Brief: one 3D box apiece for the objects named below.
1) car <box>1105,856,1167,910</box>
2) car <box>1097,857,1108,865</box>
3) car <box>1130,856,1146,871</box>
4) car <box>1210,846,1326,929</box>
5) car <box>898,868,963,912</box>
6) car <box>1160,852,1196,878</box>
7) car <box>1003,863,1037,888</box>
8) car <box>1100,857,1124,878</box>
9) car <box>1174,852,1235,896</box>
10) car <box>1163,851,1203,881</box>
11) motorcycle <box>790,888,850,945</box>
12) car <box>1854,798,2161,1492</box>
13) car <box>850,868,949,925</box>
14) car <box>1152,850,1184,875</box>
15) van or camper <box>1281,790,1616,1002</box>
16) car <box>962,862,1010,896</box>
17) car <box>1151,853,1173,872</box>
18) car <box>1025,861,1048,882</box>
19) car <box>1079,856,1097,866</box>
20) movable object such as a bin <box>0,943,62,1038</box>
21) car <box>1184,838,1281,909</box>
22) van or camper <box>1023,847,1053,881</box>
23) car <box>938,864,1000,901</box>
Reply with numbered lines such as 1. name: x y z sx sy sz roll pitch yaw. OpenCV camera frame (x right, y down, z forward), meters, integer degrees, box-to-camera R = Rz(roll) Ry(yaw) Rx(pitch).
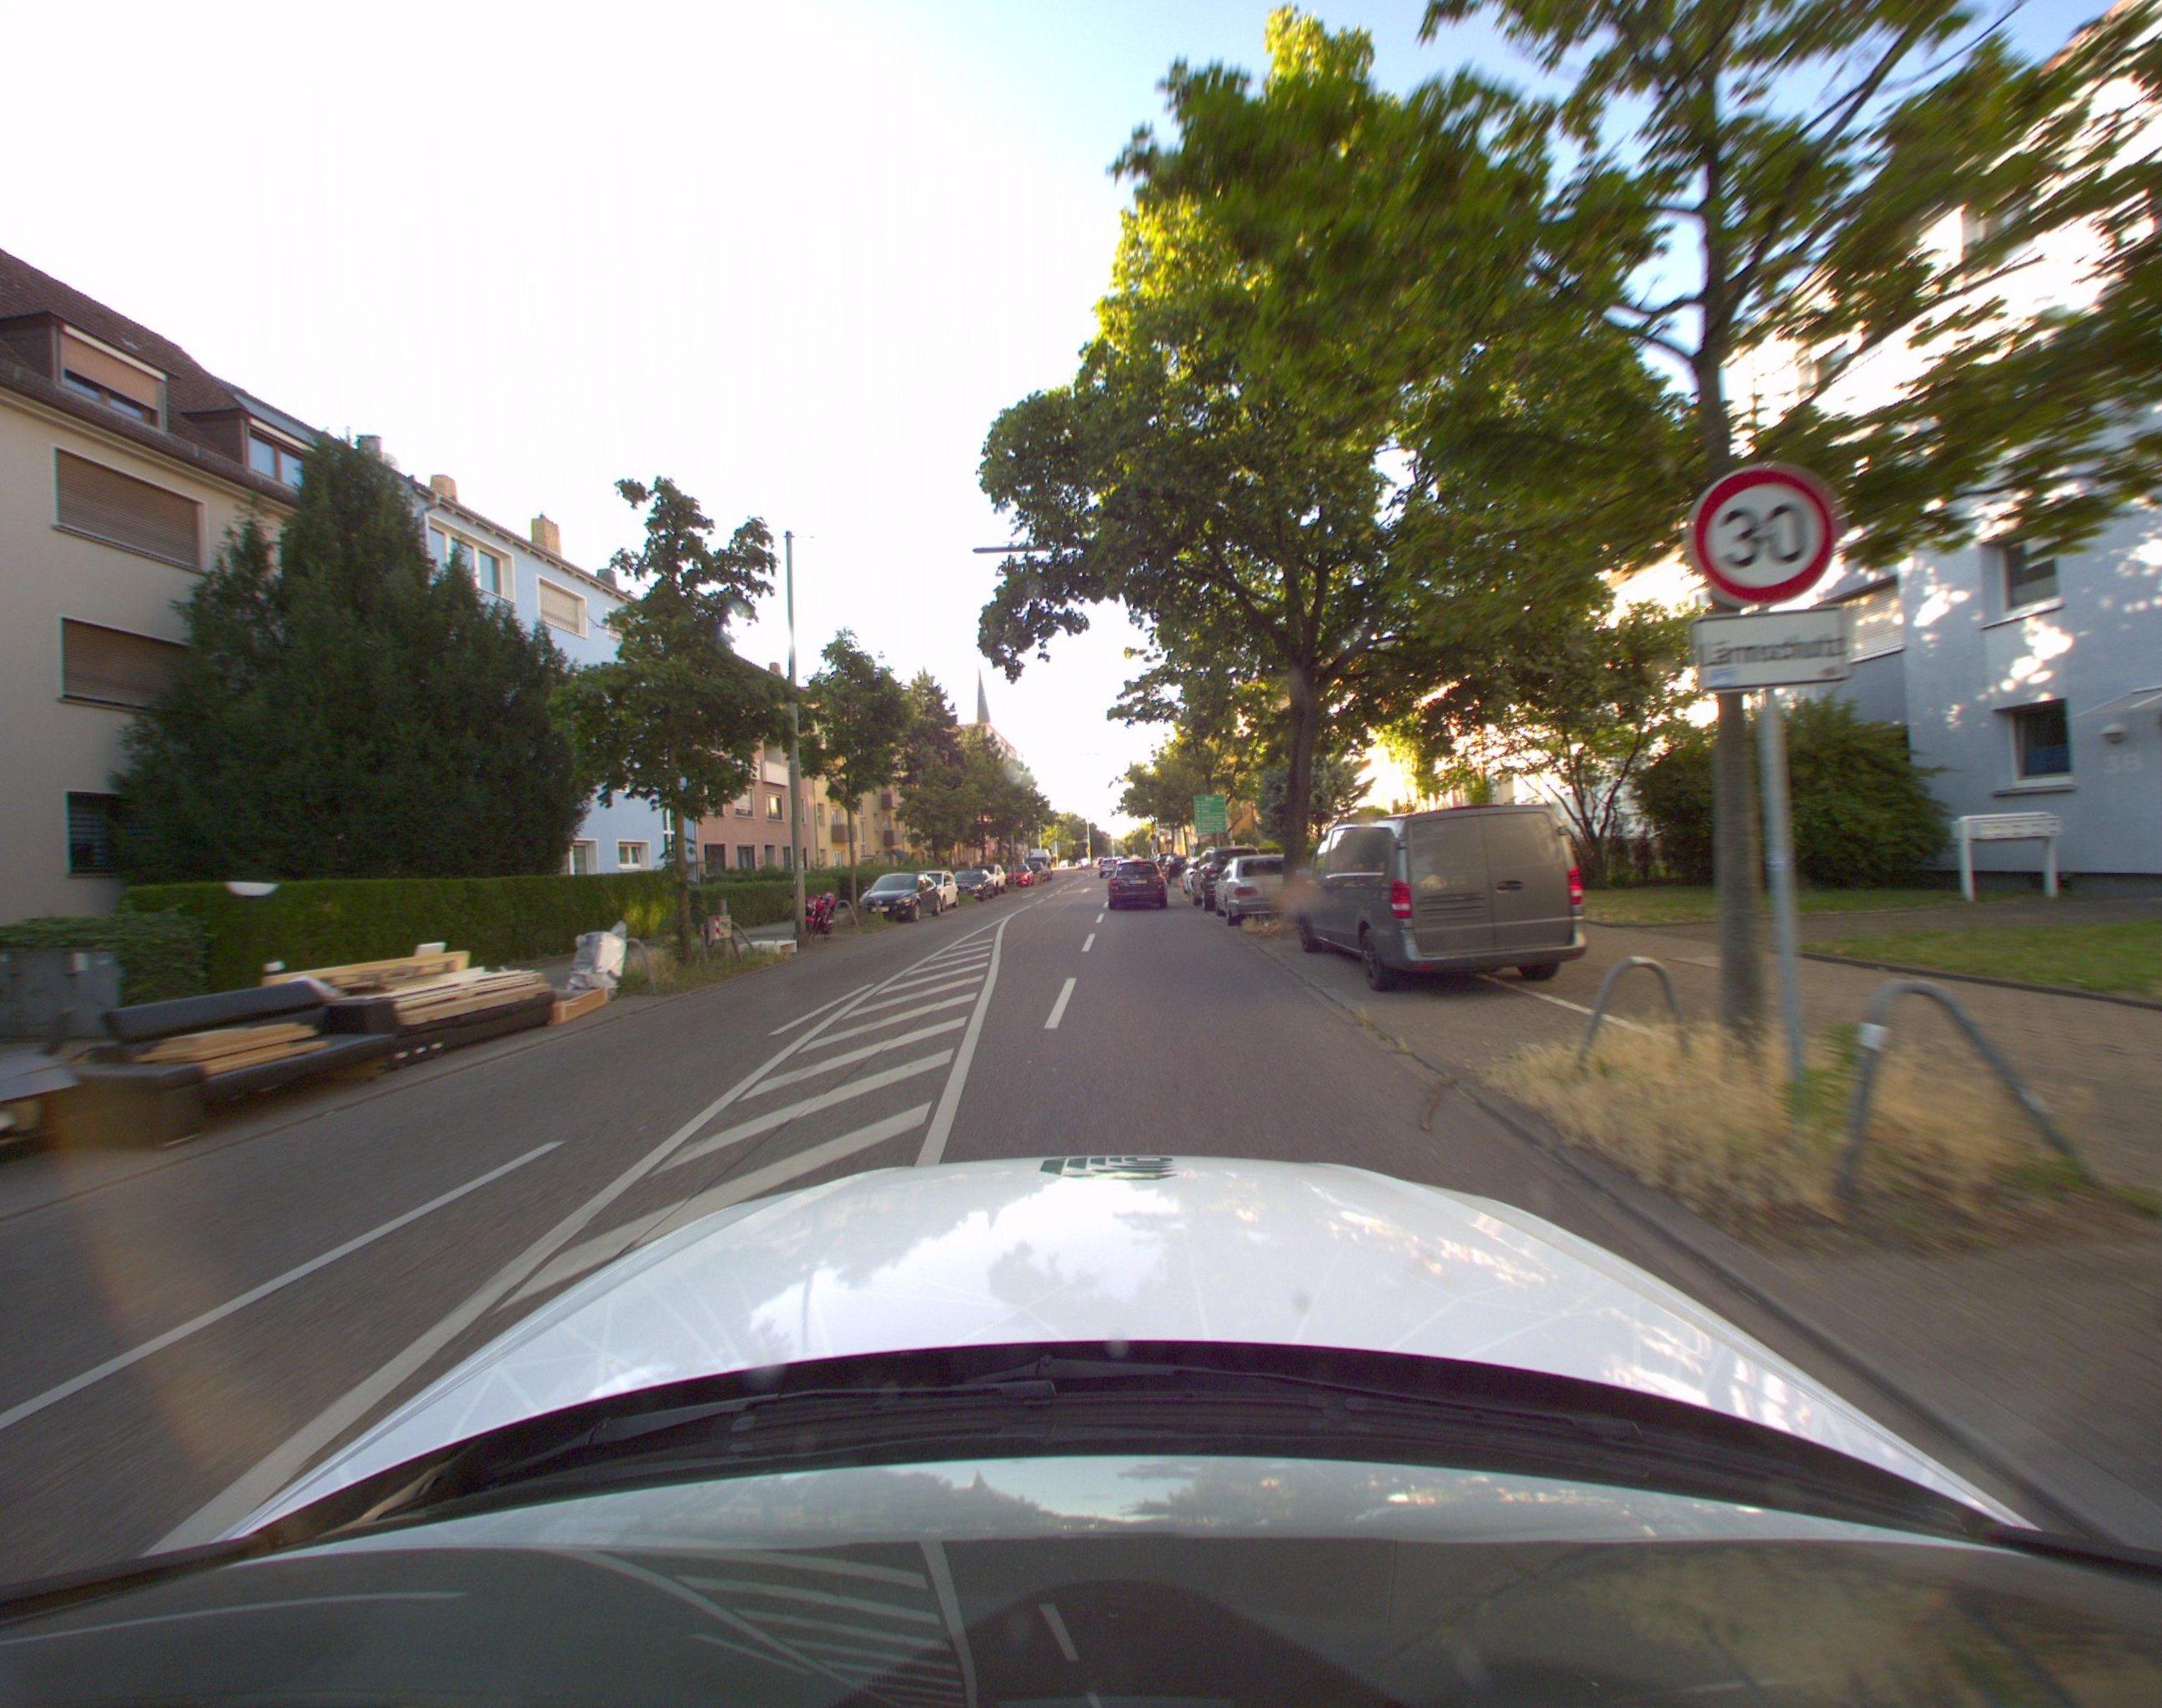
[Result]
1. car: 1.669 0.814 24.809 1.700 1.457 4.162 -2 0 4
2. car: 4.179 1.362 155.990 1.610 1.494 3.356 -3 0 9
3. car: 6.250 1.009 89.862 1.643 1.484 4.243 -2 0 3
4. car: 4.000 0.652 18.197 1.776 1.504 4.837 -3 0 5
5. car: -5.581 1.304 30.592 1.585 1.492 3.644 -3 -1 2
6. car: 6.055 0.678 51.279 1.710 1.472 4.432 -4 0 1
7. car: -4.006 1.365 53.788 1.710 1.451 3.926 -3 0 3
8. car: 2.476 1.032 63.993 1.700 1.510 4.313 -3 0 3
9. car: 4.563 0.719 30.653 1.754 1.402 4.337 -4 0 3
10. car: 5.512 0.635 44.486 1.763 1.448 4.488 -4 0 3
11. motorcycle: -5.978 1.402 18.760 0.636 1.136 2.173 -1 0 0
12. car: 3.045 0.577 0.153 1.728 1.443 4.306 -4 0 2
13. car: -5.547 1.259 25.448 1.829 1.517 4.320 -2 0 4
14. car: 6.370 0.585 59.834 1.940 1.655 4.799 -4 0 2
15. van or camper: 4.034 0.348 10.146 1.985 1.842 5.264 -3 1 3
16. car: -4.933 1.284 42.848 1.769 1.588 4.189 -3 0 3
17. car: 7.551 0.781 76.106 1.847 1.512 4.841 -5 0 5
18. car: -3.412 1.309 63.192 1.397 1.548 2.764 -2 0 3
19. car: 1.446 1.445 165.364 2.004 1.670 3.966 -3 0 -26
20. movable object such as a bin: -13.132 1.661 9.781 0.807 1.061 0.730 -3 0 0
21. car: 4.212 0.512 23.330 1.909 1.681 4.709 -5 0 2
22. van or camper: -3.533 0.825 68.156 2.028 2.664 6.016 -1 0 1
23. car: -5.129 1.289 37.853 1.986 1.448 4.461 -4 -1 3
